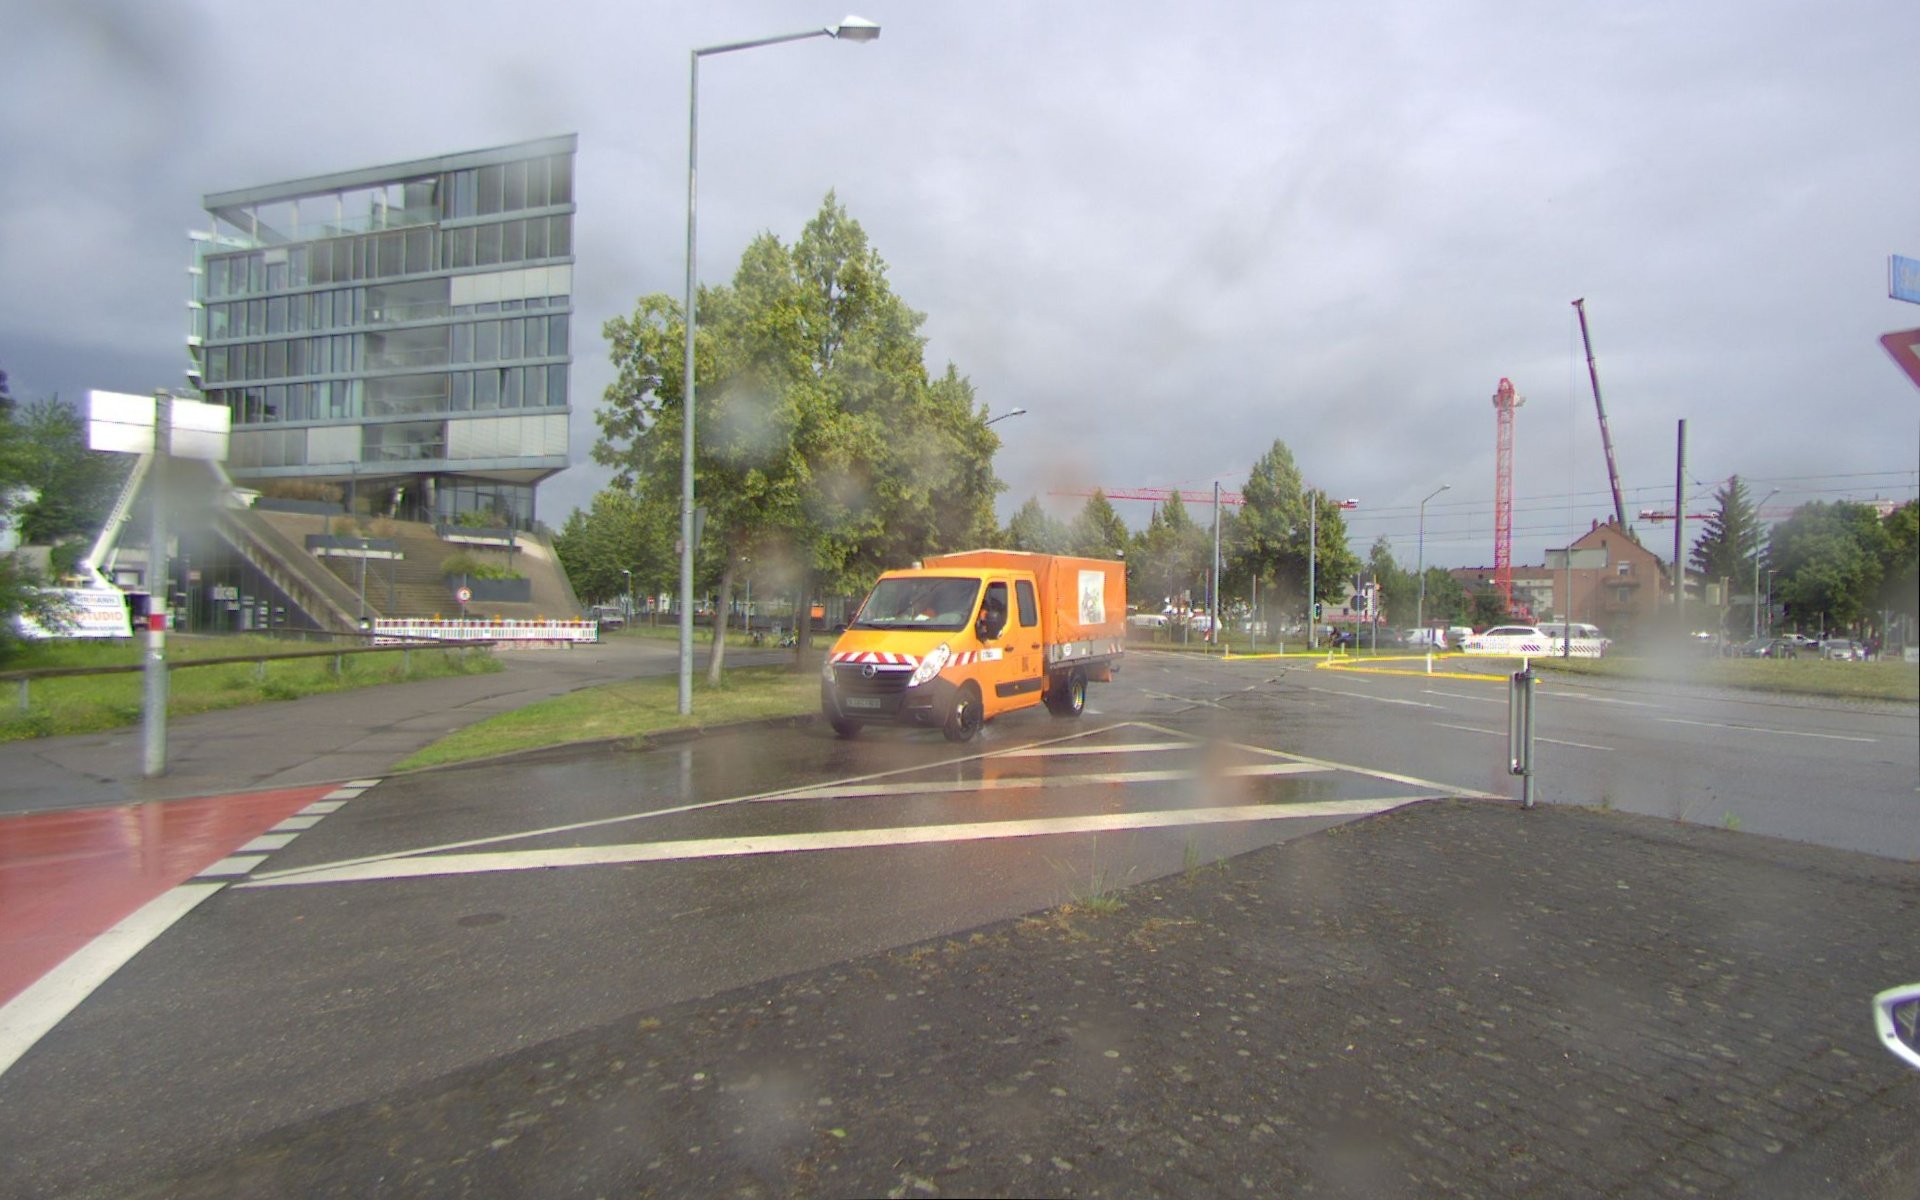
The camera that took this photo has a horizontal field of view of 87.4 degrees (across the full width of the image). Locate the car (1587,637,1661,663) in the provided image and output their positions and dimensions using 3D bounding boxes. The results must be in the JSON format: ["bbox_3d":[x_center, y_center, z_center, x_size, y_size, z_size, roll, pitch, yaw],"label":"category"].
[{"bbox_3d":[47.254,3.551,71.506,3.921,1.706,2.000,1,-1,0],"label":"car"}]

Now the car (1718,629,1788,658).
[{"bbox_3d":[46.090,2.518,58.383,3.950,1.606,1.784,1,0,-28],"label":"car"}]

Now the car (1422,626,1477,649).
[{"bbox_3d":[43.565,3.299,89.476,1.838,1.723,3.963,3,1,-33],"label":"car"}]

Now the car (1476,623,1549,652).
[{"bbox_3d":[30.702,2.069,55.907,3.435,1.530,1.498,1,0,27],"label":"car"}]

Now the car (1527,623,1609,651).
[{"bbox_3d":[54.102,3.282,89.582,2.014,2.113,6.230,2,1,-23],"label":"car"}]

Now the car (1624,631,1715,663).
[{"bbox_3d":[37.664,2.469,53.416,3.603,1.581,1.575,1,0,11],"label":"car"}]

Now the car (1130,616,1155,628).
[{"bbox_3d":[25.324,3.023,139.257,1.533,1.581,3.469,1,-1,-32],"label":"car"}]

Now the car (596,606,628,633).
[{"bbox_3d":[-32.065,1.813,92.482,1.846,2.390,4.433,1,-2,-31],"label":"car"}]

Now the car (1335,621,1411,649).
[{"bbox_3d":[24.482,2.042,59.594,3.931,1.537,1.798,0,-1,32],"label":"car"}]

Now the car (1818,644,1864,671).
[{"bbox_3d":[55.330,3.569,63.088,3.469,1.581,1.533,2,-1,-38],"label":"car"}]

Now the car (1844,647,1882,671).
[{"bbox_3d":[64.188,4.156,71.401,3.522,1.581,1.581,1,-1,-41],"label":"car"}]

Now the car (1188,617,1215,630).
[{"bbox_3d":[33.815,3.290,140.780,1.485,1.745,3.565,1,-1,-35],"label":"car"}]

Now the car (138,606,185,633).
[{"bbox_3d":[-50.751,1.269,63.810,1.855,1.694,4.412,2,-3,-44],"label":"car"}]

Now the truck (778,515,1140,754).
[{"bbox_3d":[0.425,0.463,15.242,2.417,2.762,6.934,0,-1,29],"label":"truck"}]

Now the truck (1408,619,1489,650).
[{"bbox_3d":[41.342,2.922,85.228,2.365,2.241,6.064,2,1,-24],"label":"truck"}]
